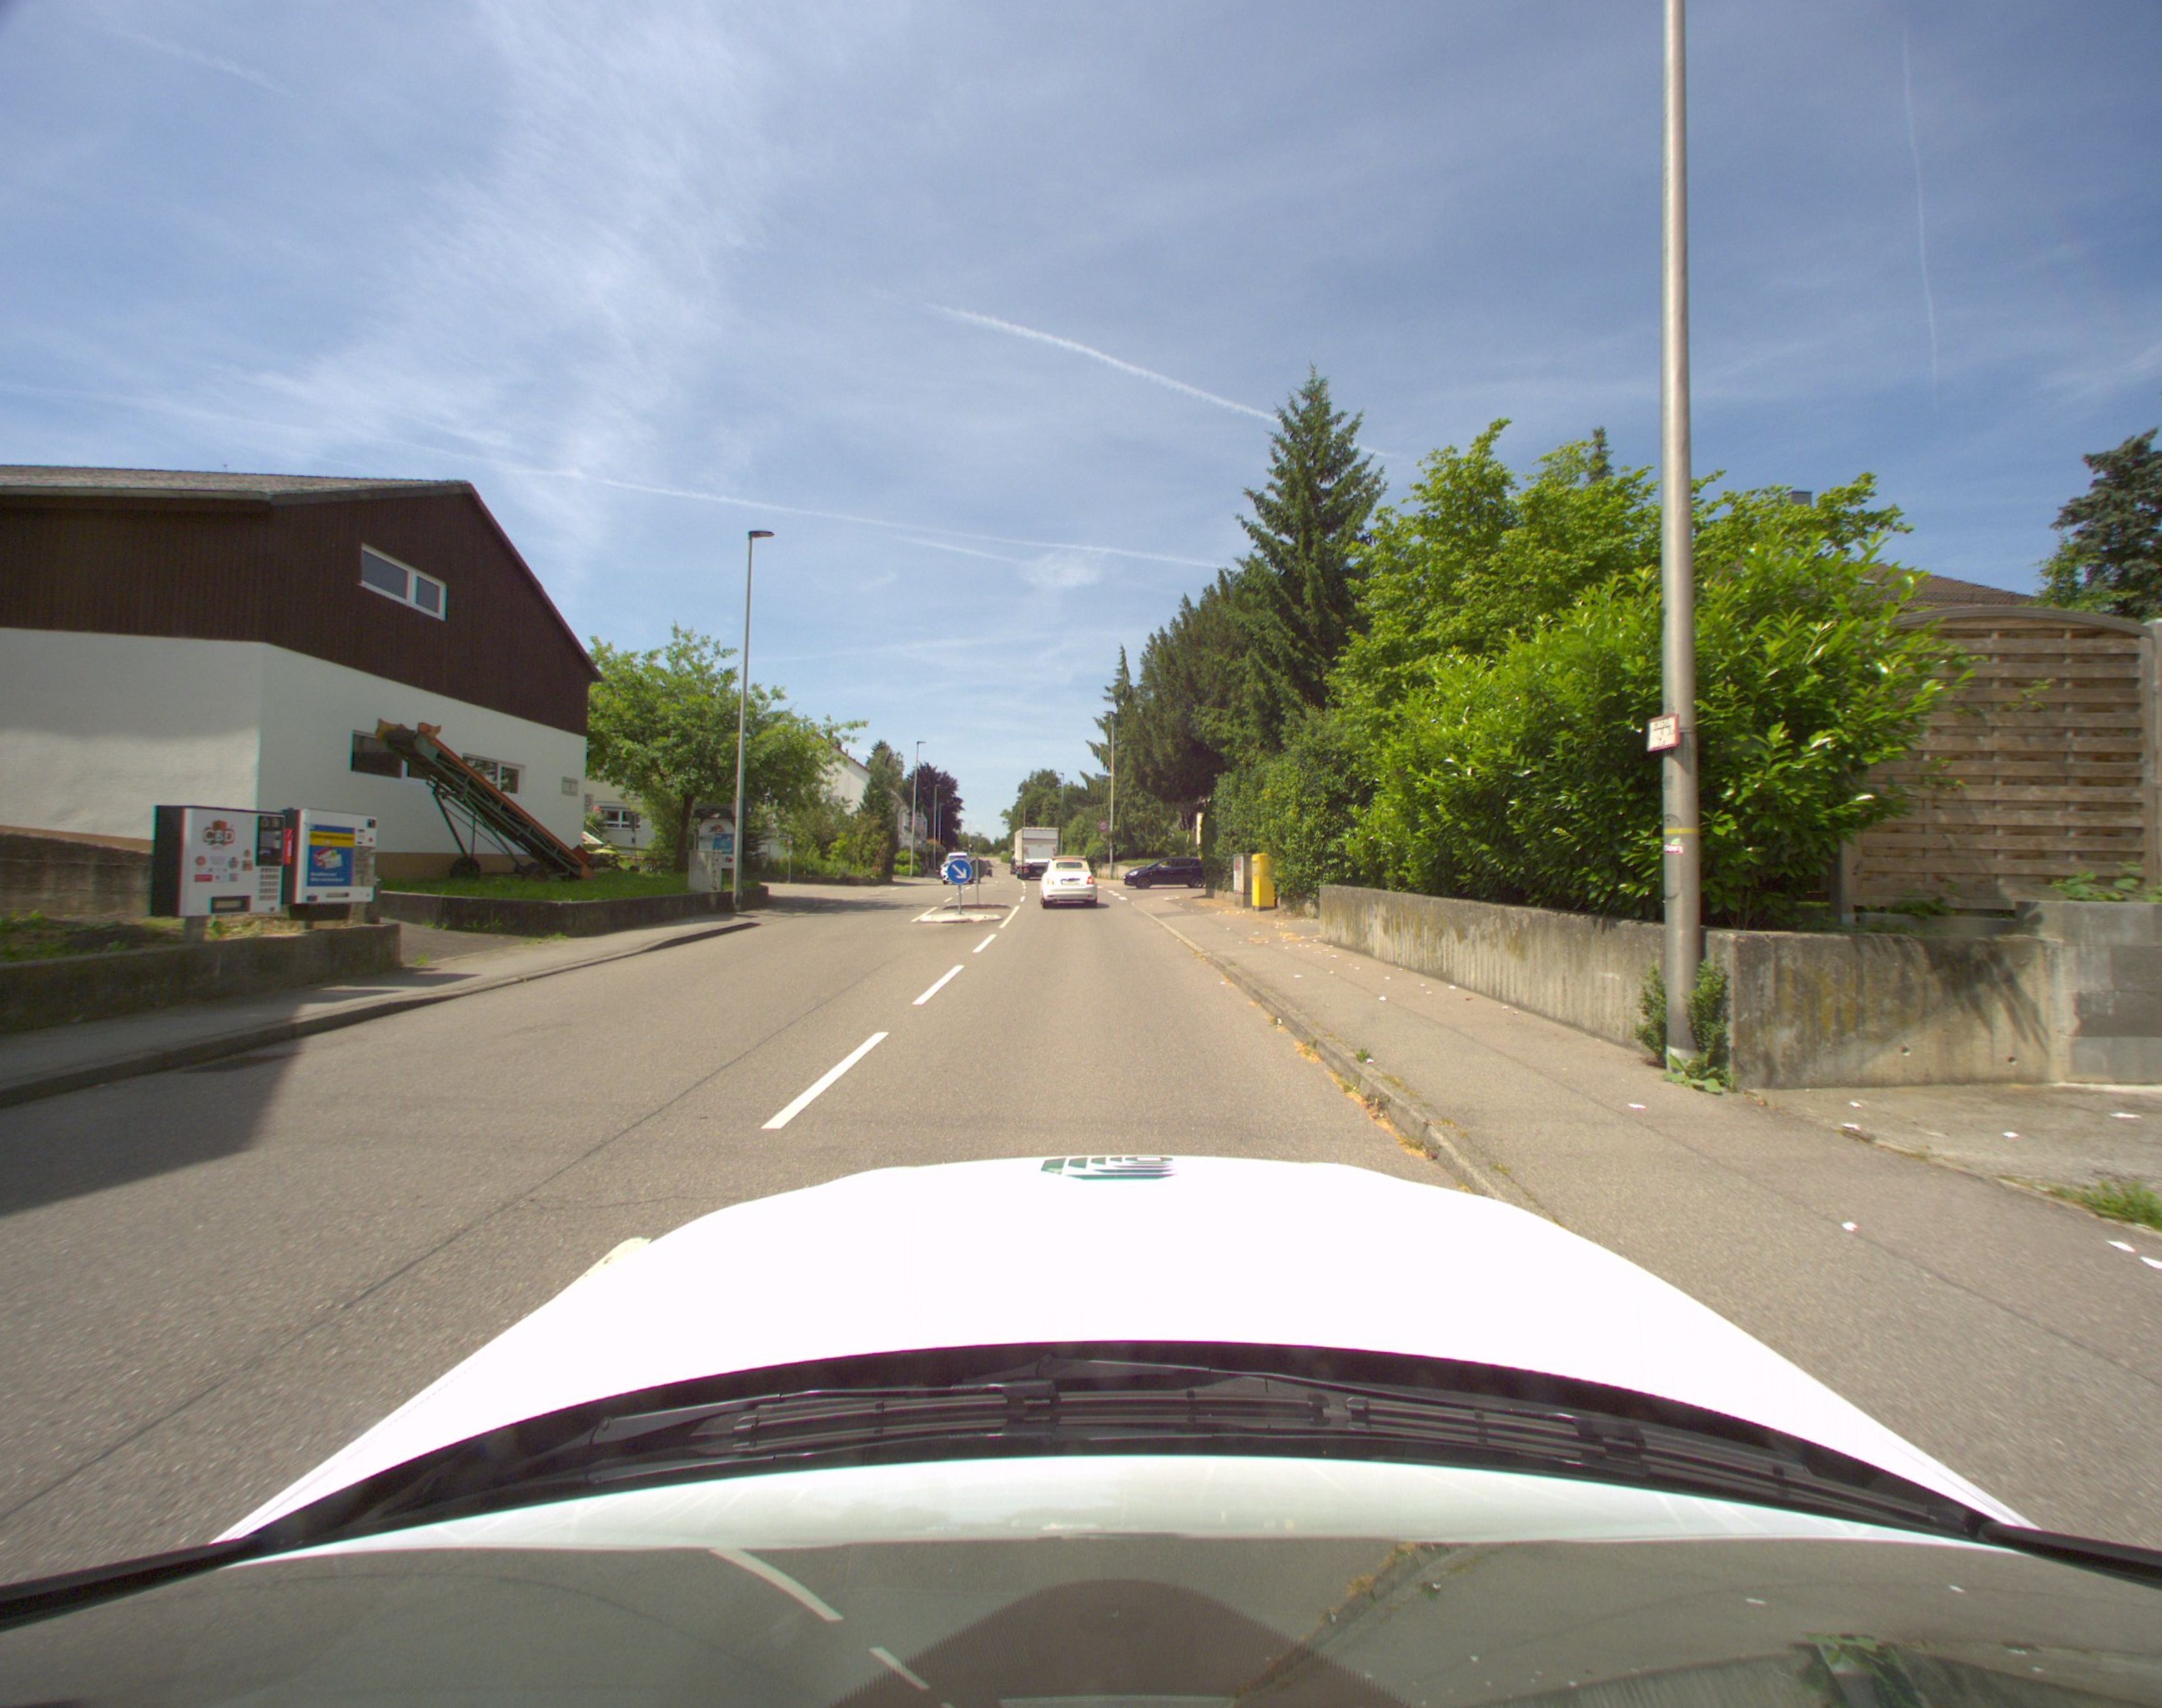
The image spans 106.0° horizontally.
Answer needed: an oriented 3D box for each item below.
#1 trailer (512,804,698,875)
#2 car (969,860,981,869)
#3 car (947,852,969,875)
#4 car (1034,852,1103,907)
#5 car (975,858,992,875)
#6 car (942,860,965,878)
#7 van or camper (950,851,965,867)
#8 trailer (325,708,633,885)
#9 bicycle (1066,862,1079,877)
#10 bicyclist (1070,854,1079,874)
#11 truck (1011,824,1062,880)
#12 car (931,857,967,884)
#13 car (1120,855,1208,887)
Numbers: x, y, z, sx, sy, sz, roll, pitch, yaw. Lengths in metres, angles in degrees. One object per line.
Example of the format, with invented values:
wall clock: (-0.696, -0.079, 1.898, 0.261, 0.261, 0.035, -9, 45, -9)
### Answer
trailer: (-13.145, -0.382, 22.588, 3.662, 1.691, 2.780, 3, -1, 25)
car: (-19.914, 1.978, 153.714, 1.828, 1.534, 3.997, 1, -1, -2)
car: (-11.926, 0.928, 78.955, 2.036, 2.200, 5.565, 0, -1, -9)
car: (-0.467, 0.732, 25.275, 1.723, 1.560, 3.990, 0, 0, -7)
car: (-8.924, 1.124, 74.732, 1.478, 1.510, 2.794, -1, 0, -6)
car: (-10.336, 1.222, 66.066, 1.804, 1.398, 3.988, 0, -1, -9)
van or camper: (-22.978, 0.953, 151.936, 2.261, 2.962, 5.878, 2, 0, -5)
trailer: (-11.454, -0.921, 16.308, 1.708, 2.848, 6.168, 1, 0, -2)
bicycle: (-0.623, 1.144, 60.637, 0.667, 1.104, 2.419, 1, -1, -7)
bicyclist: (-0.470, 0.742, 60.445, 0.587, 1.412, 0.740, 2, -1, -7)
truck: (-3.374, -0.097, 59.651, 3.066, 3.774, 7.845, 0, -1, -8)
car: (-8.047, 1.008, 49.779, 1.780, 1.529, 4.164, -1, -1, -4)
car: (3.868, 0.777, 38.396, 3.924, 1.458, 1.656, 0, -1, -3)
